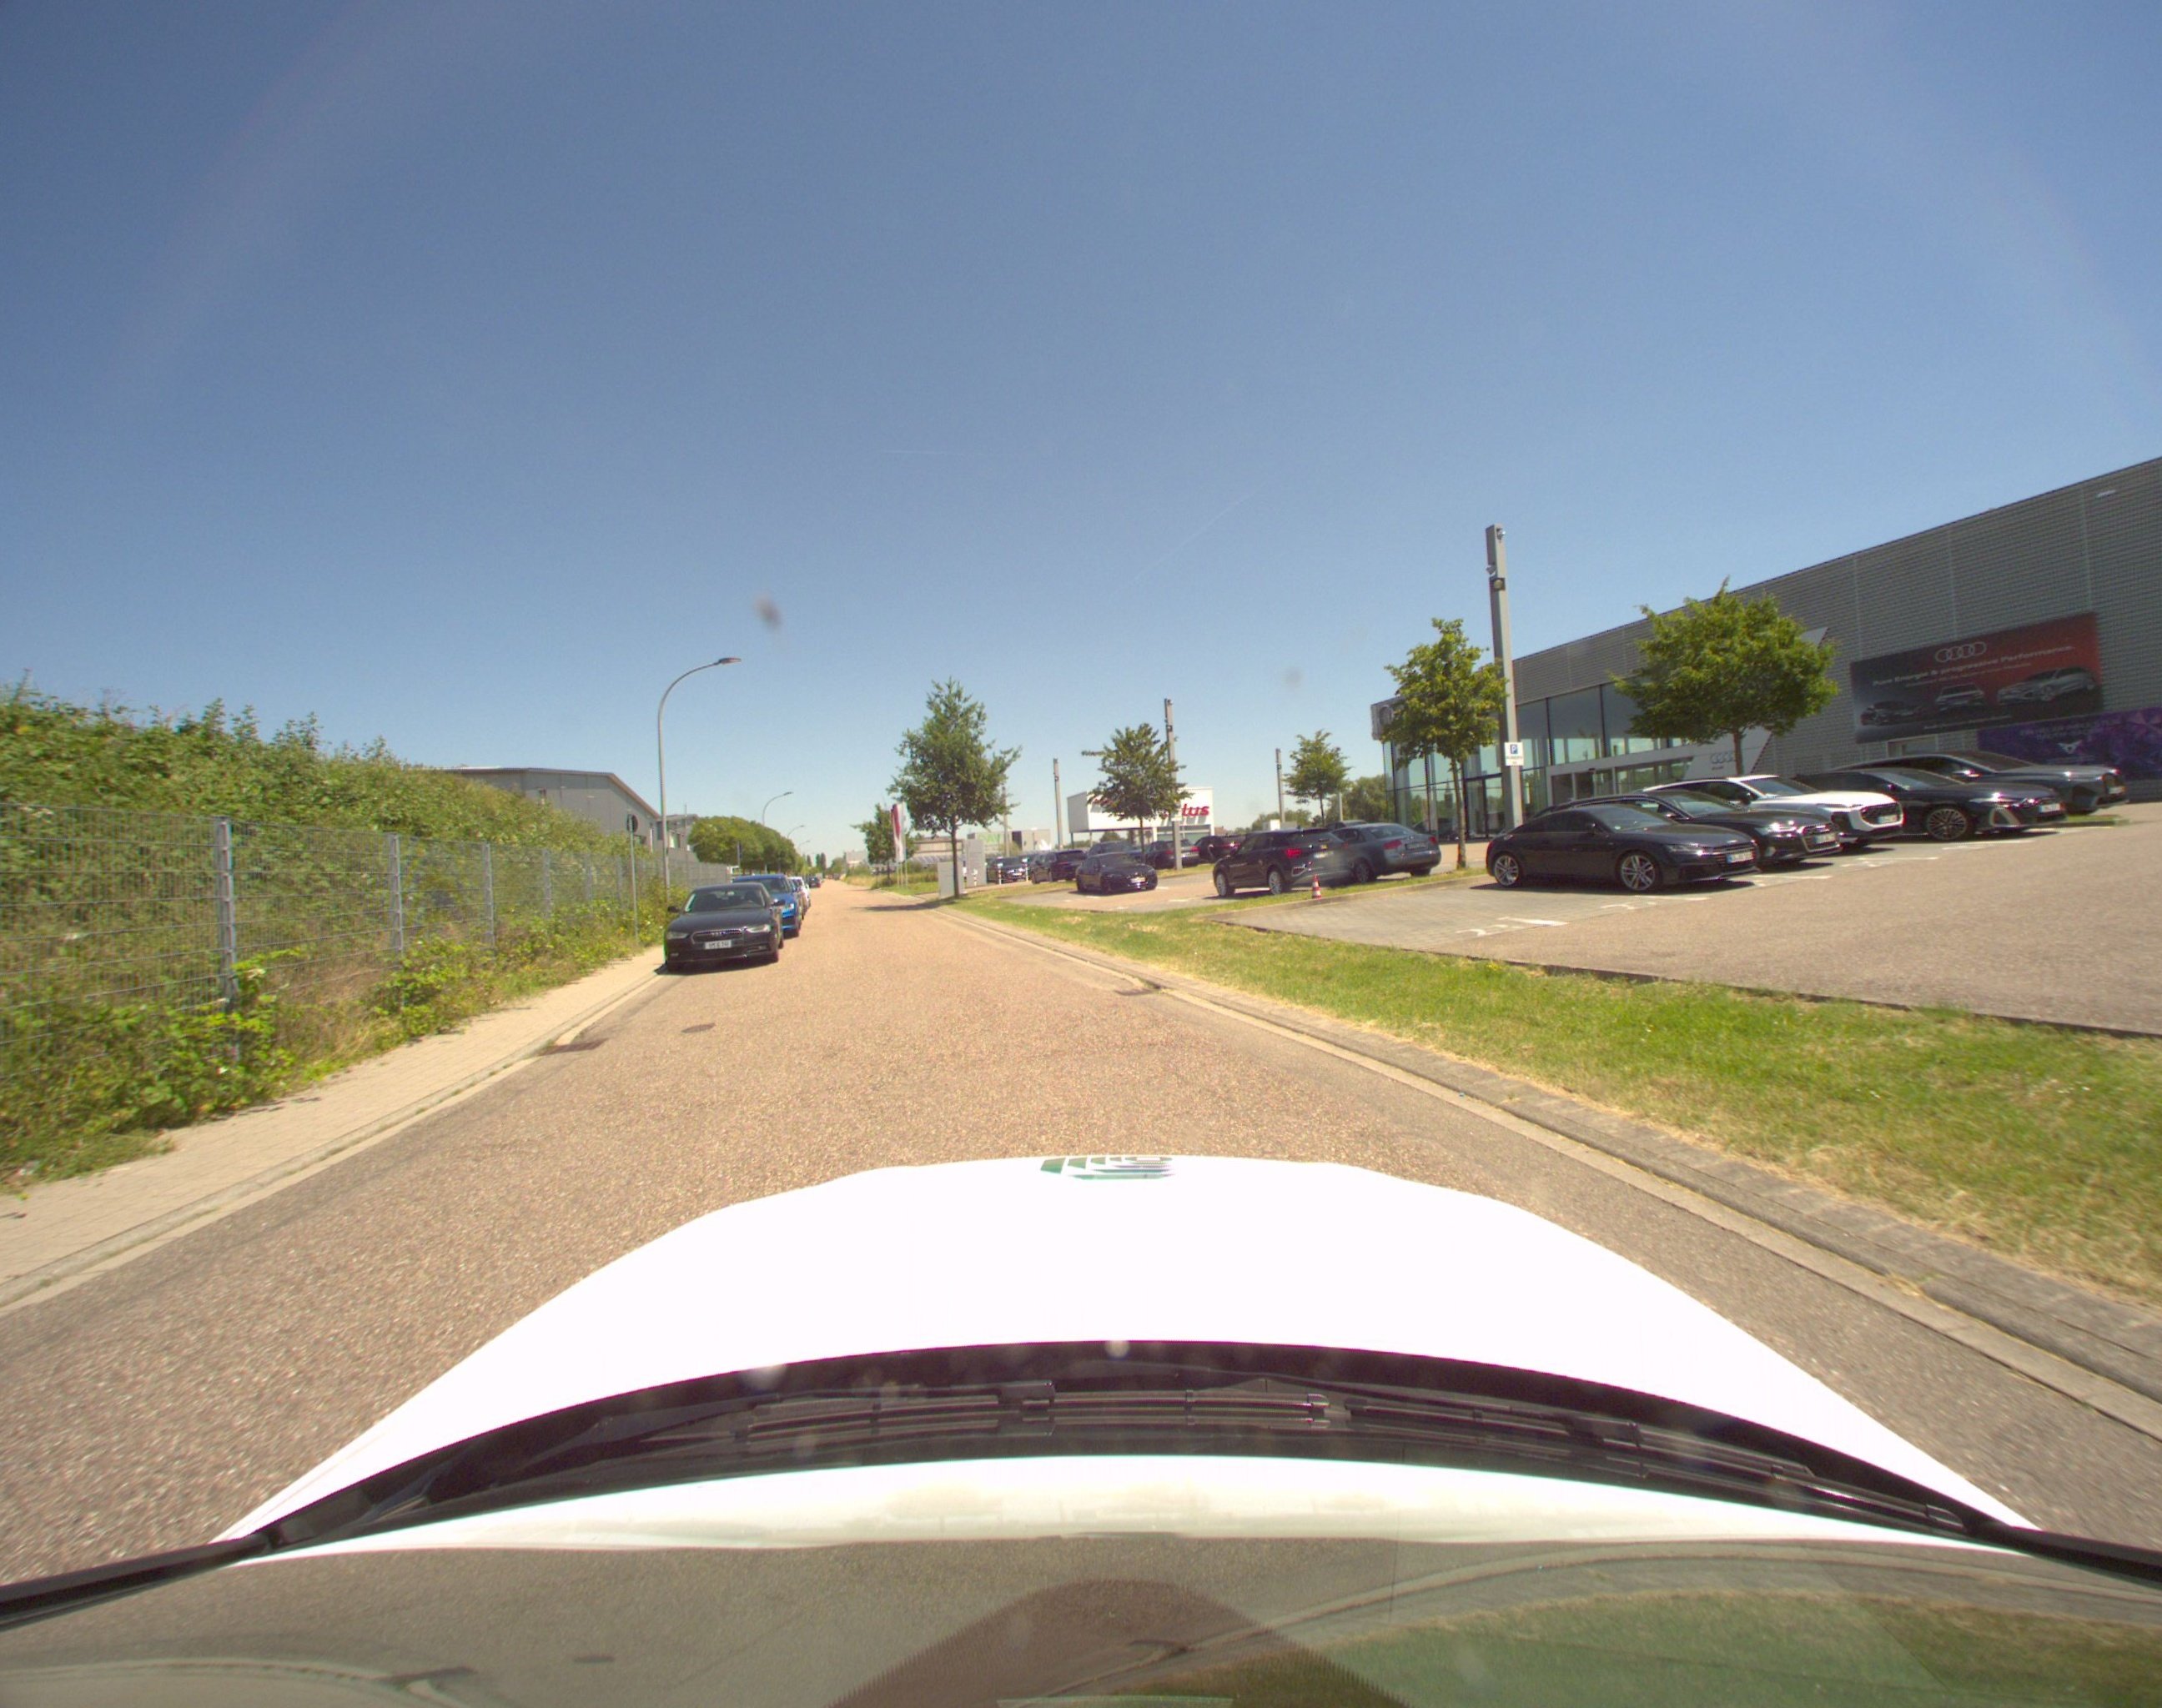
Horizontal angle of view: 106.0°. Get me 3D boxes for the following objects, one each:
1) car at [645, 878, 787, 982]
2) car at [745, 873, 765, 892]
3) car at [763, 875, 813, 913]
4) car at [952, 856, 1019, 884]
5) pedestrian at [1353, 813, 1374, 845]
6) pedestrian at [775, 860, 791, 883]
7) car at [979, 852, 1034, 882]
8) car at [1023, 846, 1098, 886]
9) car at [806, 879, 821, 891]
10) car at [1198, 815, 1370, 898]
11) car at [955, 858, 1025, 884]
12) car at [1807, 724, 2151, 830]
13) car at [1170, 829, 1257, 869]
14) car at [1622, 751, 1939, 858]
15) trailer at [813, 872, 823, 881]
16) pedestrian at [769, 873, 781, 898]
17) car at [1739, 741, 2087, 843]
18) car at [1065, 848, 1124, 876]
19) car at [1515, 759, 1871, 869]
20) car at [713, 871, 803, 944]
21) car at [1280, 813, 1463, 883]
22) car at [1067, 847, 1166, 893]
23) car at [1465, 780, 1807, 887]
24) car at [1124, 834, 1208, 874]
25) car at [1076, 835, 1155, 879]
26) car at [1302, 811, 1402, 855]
[{"bbox_3d":[-6.379,1.218,14.704,1.830,1.455,4.551,-3,-1,-19],"label":"car"},{"bbox_3d":[-35.703,3.089,89.222,1.843,2.019,5.091,0,-2,-20],"label":"car"},{"bbox_3d":[-13.121,1.737,36.674,1.829,1.500,4.233,-3,-1,-17],"label":"car"},{"bbox_3d":[-7.142,1.220,60.625,4.544,1.692,2.017,-5,-1,-20],"label":"car"},{"bbox_3d":[16.360,-1.469,47.216,0.771,1.776,0.741,-4,-1,-13],"label":"pedestrian"},{"bbox_3d":[-26.527,1.535,72.430,0.833,1.973,0.970,-2,-2,22],"label":"pedestrian"},{"bbox_3d":[-4.434,0.785,47.832,2.030,1.514,5.208,-6,0,-17],"label":"car"},{"bbox_3d":[-0.996,0.594,36.553,1.967,1.456,4.954,-4,-2,-18],"label":"car"},{"bbox_3d":[-37.605,4.356,114.307,1.933,1.567,4.162,-3,-1,-19],"label":"car"},{"bbox_3d":[4.647,0.099,19.342,1.893,1.571,4.200,-6,0,-19],"label":"car"},{"bbox_3d":[-6.469,1.206,58.084,4.544,1.457,2.017,-4,0,-20],"label":"car"},{"bbox_3d":[19.650,-1.594,18.180,1.968,1.739,4.698,-5,0,-19],"label":"car"},{"bbox_3d":[6.177,-0.185,38.710,1.967,1.456,4.954,-4,-2,-18],"label":"car"},{"bbox_3d":[13.421,-0.864,16.015,1.968,1.613,4.261,-5,0,-19],"label":"car"},{"bbox_3d":[-65.587,5.583,203.314,2.207,2.137,4.259,-3,-1,-18],"label":"trailer"},{"bbox_3d":[-22.315,2.290,59.398,0.746,1.802,1.128,0,-2,-16],"label":"pedestrian"},{"bbox_3d":[16.080,-1.120,16.110,1.968,1.476,4.344,-5,0,-19],"label":"car"},{"bbox_3d":[0.745,0.523,50.292,2.030,1.456,5.047,-6,0,-17],"label":"car"},{"bbox_3d":[10.902,-0.608,15.107,1.968,1.553,4.973,-5,0,-19],"label":"car"},{"bbox_3d":[-8.153,1.281,20.873,1.830,1.570,4.358,-3,-1,-19],"label":"car"},{"bbox_3d":[6.989,-0.084,20.099,1.968,1.366,4.200,-6,0,-19],"label":"car"},{"bbox_3d":[1.176,0.550,29.626,1.967,1.366,4.692,-6,1,-18],"label":"car"},{"bbox_3d":[8.802,-0.252,13.442,1.968,1.375,4.284,-5,0,-19],"label":"car"},{"bbox_3d":[3.871,0.033,38.151,1.967,1.456,4.954,-4,-2,-18],"label":"car"},{"bbox_3d":[1.486,0.193,37.646,1.967,1.598,4.954,-4,-2,-18],"label":"car"},{"bbox_3d":[13.045,-0.983,39.618,1.967,1.621,4.954,-4,-2,-18],"label":"car"}]
